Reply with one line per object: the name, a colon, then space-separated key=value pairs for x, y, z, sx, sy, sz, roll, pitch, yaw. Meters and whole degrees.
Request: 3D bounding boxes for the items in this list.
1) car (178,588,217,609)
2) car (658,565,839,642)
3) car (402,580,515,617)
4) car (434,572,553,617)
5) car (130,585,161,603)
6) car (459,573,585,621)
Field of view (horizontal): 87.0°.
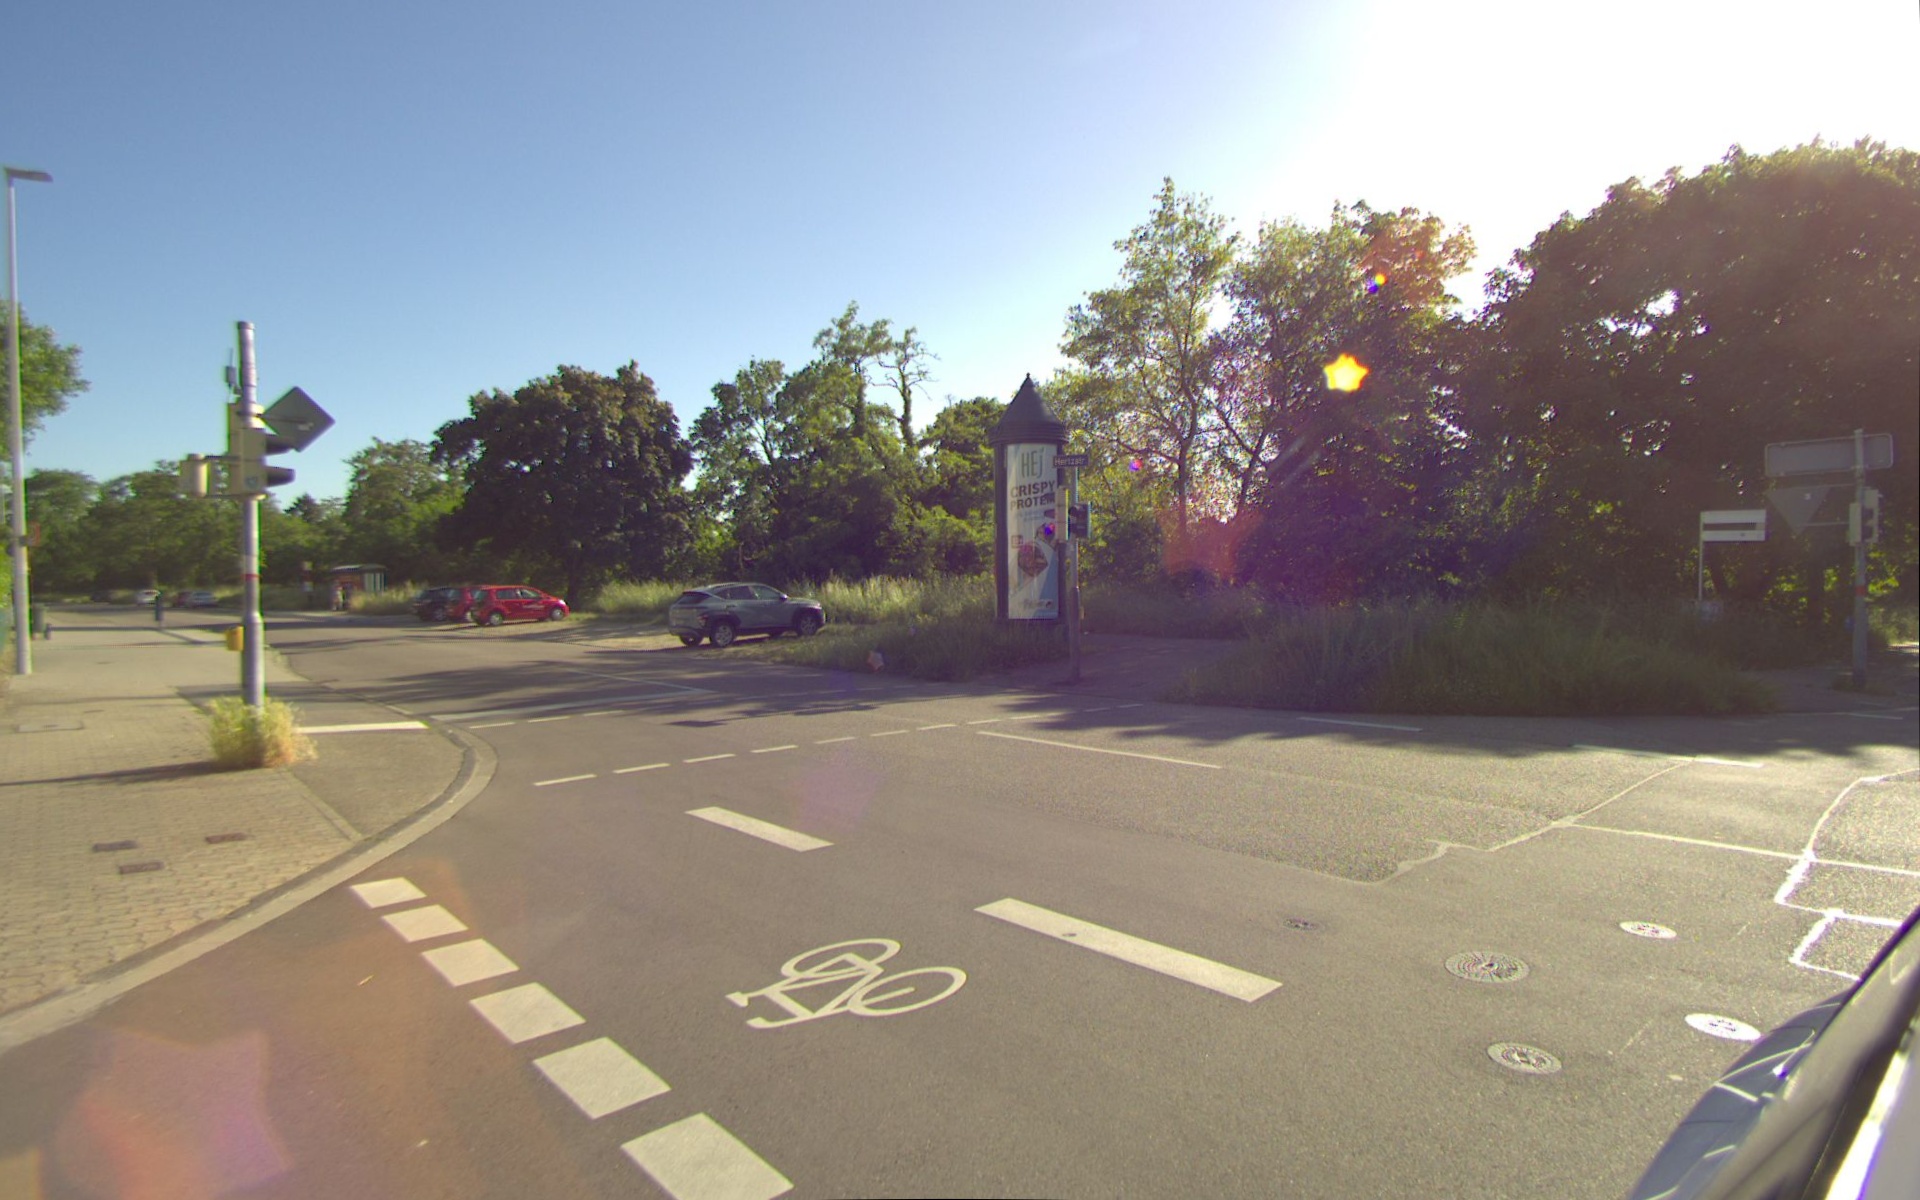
car: x=-63.195 y=-0.125 z=83.856 sx=4.180 sy=1.550 sz=1.842 roll=-2 pitch=3 yaw=43
car: x=-5.605 y=0.053 z=27.173 sx=4.378 sy=1.670 sz=1.864 roll=-6 pitch=3 yaw=-44
car: x=-22.290 y=-0.102 z=45.066 sx=4.127 sy=1.551 sz=1.864 roll=-1 pitch=1 yaw=-44
car: x=-19.637 y=-0.243 z=42.699 sx=4.130 sy=1.550 sz=1.864 roll=-6 pitch=3 yaw=-44
car: x=-83.234 y=-0.591 z=103.390 sx=4.180 sy=1.550 sz=1.842 roll=-2 pitch=3 yaw=43
car: x=-17.288 y=-0.125 z=40.074 sx=4.130 sy=1.550 sz=1.864 roll=-6 pitch=3 yaw=-44
